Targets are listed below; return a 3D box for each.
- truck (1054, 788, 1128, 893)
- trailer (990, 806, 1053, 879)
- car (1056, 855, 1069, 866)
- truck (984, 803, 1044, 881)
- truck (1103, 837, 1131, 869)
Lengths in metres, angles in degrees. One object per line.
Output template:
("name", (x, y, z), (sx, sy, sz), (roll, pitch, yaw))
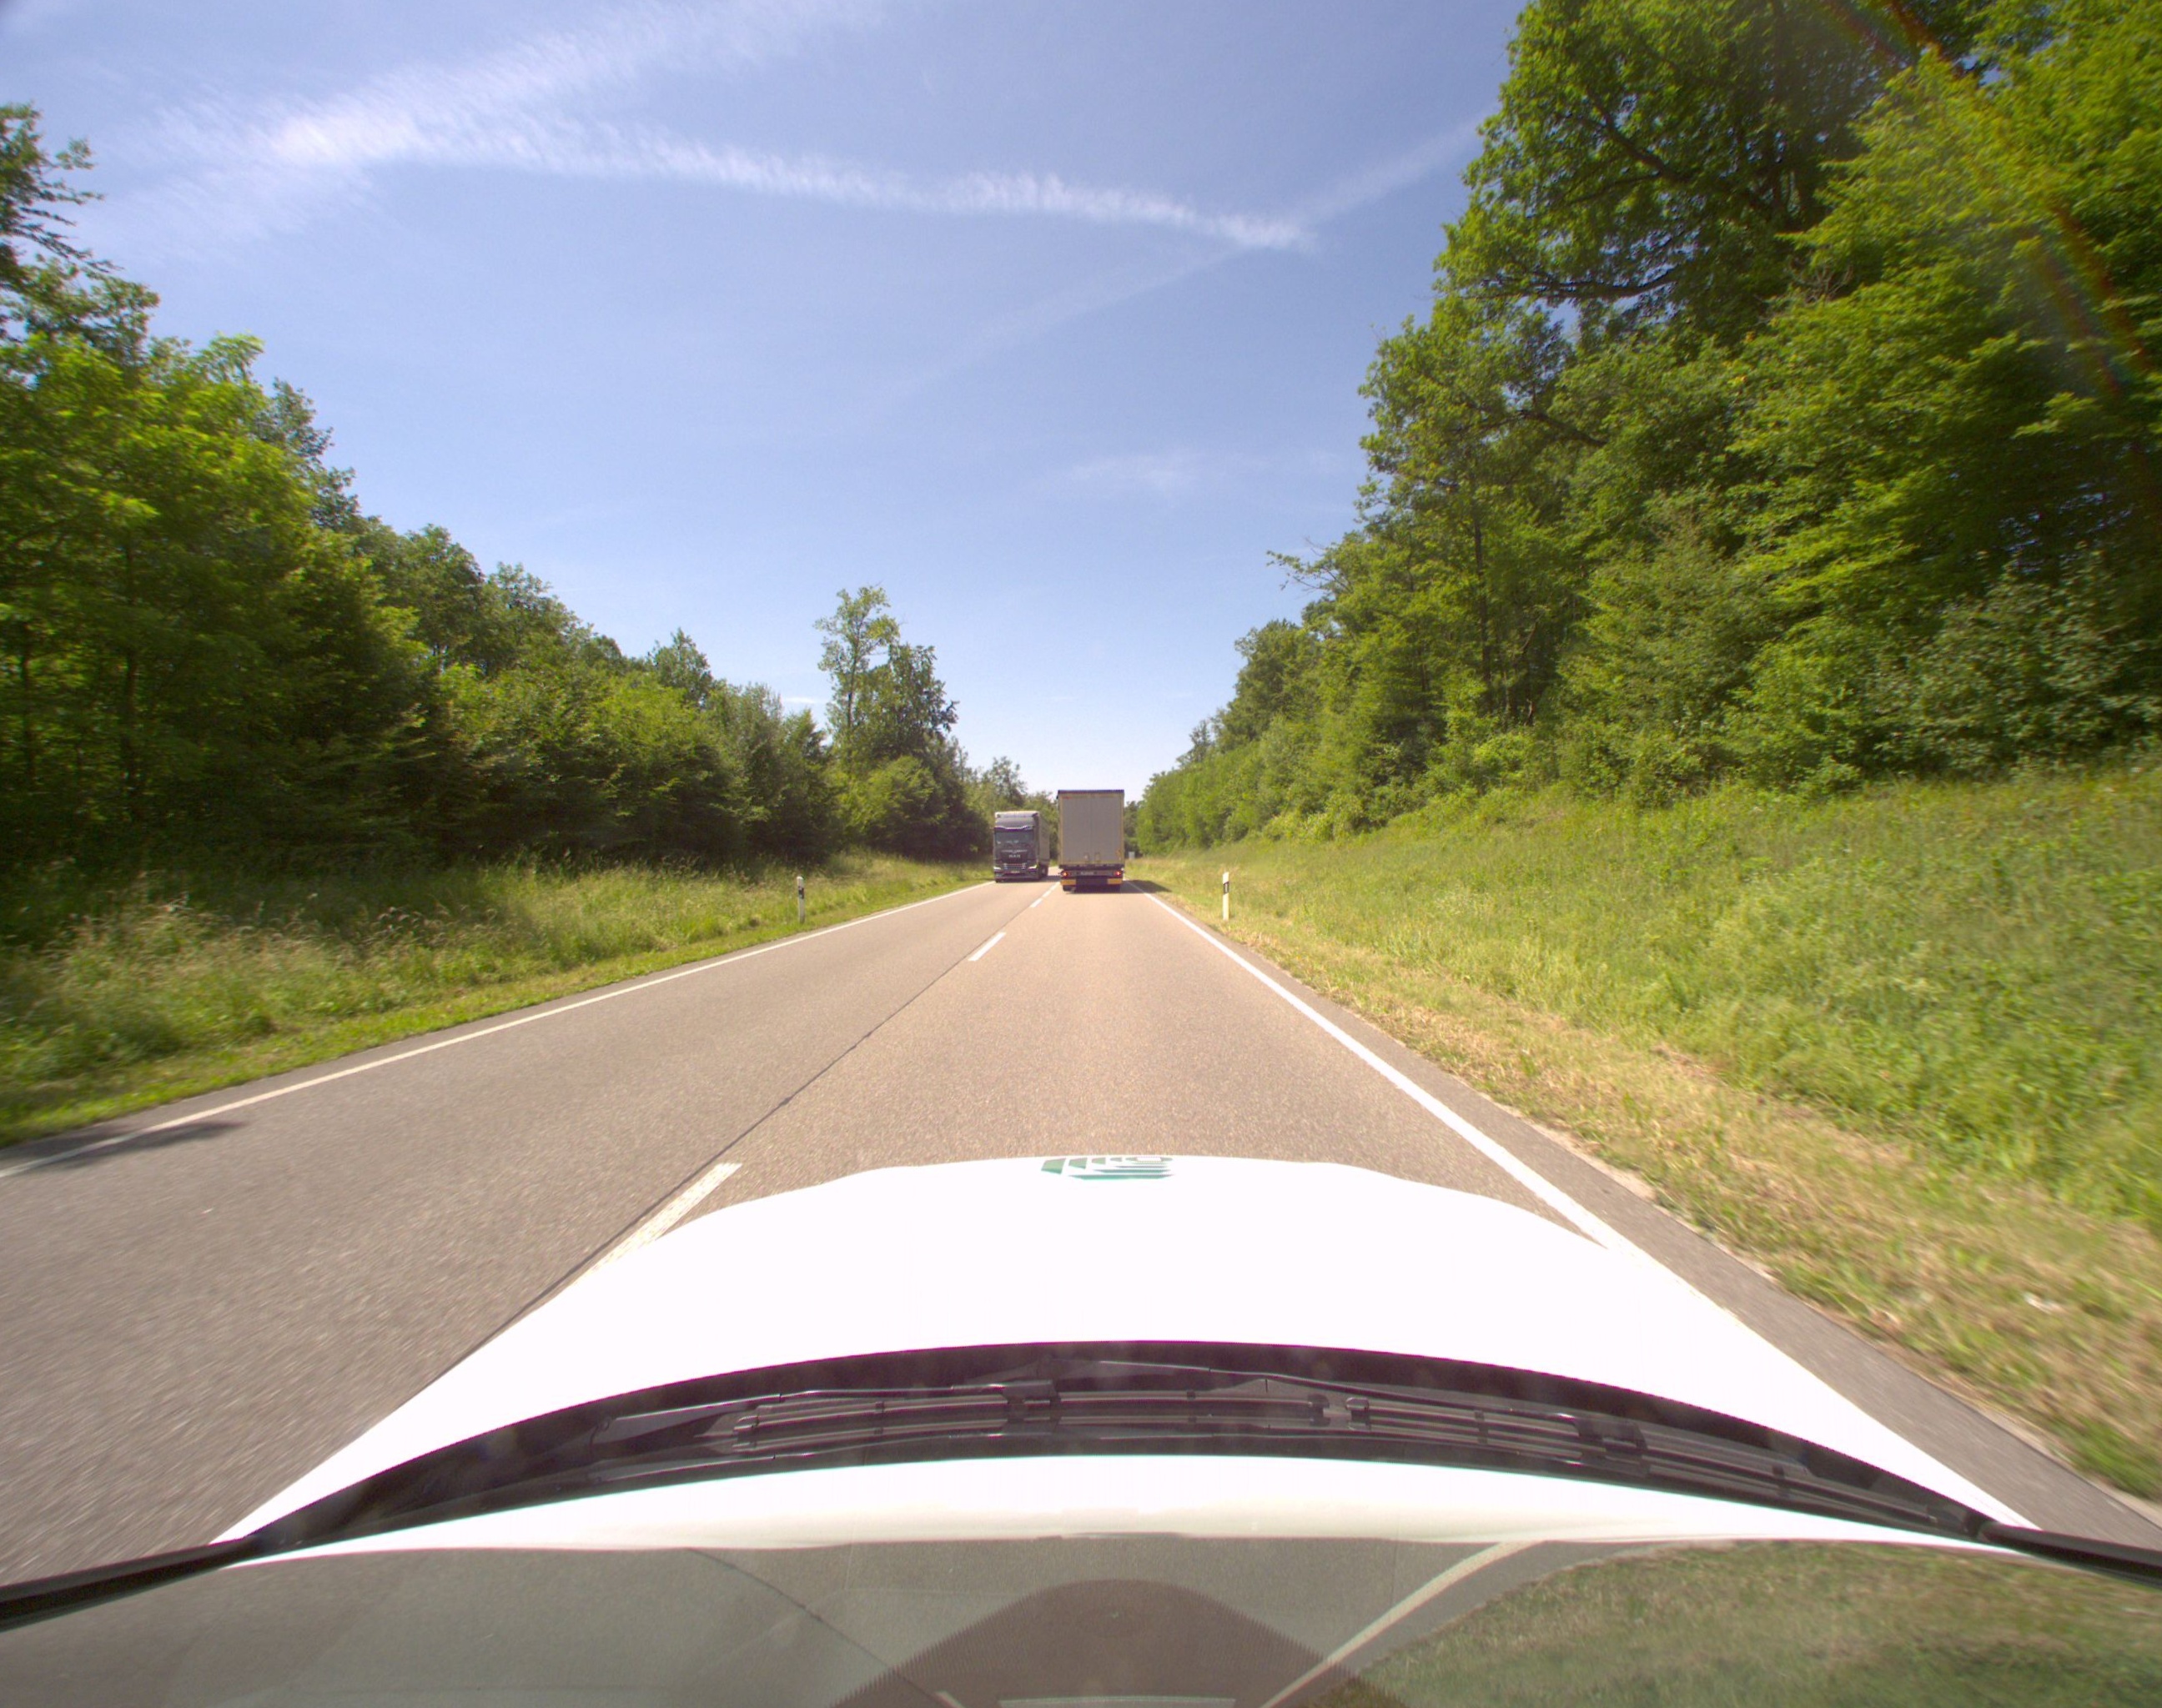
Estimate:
("truck", (0.392, -0.510, 37.155), (2.752, 3.947, 12.195), (-1, 0, 0))
("trailer", (-3.719, -0.692, 54.554), (2.932, 4.252, 13.620), (-1, 0, 1))
("car", (-2.728, 0.972, 120.804), (1.655, 1.495, 3.806), (-2, 0, 1))
("truck", (-3.812, -0.653, 47.576), (2.912, 4.216, 5.343), (-1, 0, 0))
("truck", (5.085, -0.086, 118.282), (3.780, 4.373, 14.922), (0, 0, 1))
